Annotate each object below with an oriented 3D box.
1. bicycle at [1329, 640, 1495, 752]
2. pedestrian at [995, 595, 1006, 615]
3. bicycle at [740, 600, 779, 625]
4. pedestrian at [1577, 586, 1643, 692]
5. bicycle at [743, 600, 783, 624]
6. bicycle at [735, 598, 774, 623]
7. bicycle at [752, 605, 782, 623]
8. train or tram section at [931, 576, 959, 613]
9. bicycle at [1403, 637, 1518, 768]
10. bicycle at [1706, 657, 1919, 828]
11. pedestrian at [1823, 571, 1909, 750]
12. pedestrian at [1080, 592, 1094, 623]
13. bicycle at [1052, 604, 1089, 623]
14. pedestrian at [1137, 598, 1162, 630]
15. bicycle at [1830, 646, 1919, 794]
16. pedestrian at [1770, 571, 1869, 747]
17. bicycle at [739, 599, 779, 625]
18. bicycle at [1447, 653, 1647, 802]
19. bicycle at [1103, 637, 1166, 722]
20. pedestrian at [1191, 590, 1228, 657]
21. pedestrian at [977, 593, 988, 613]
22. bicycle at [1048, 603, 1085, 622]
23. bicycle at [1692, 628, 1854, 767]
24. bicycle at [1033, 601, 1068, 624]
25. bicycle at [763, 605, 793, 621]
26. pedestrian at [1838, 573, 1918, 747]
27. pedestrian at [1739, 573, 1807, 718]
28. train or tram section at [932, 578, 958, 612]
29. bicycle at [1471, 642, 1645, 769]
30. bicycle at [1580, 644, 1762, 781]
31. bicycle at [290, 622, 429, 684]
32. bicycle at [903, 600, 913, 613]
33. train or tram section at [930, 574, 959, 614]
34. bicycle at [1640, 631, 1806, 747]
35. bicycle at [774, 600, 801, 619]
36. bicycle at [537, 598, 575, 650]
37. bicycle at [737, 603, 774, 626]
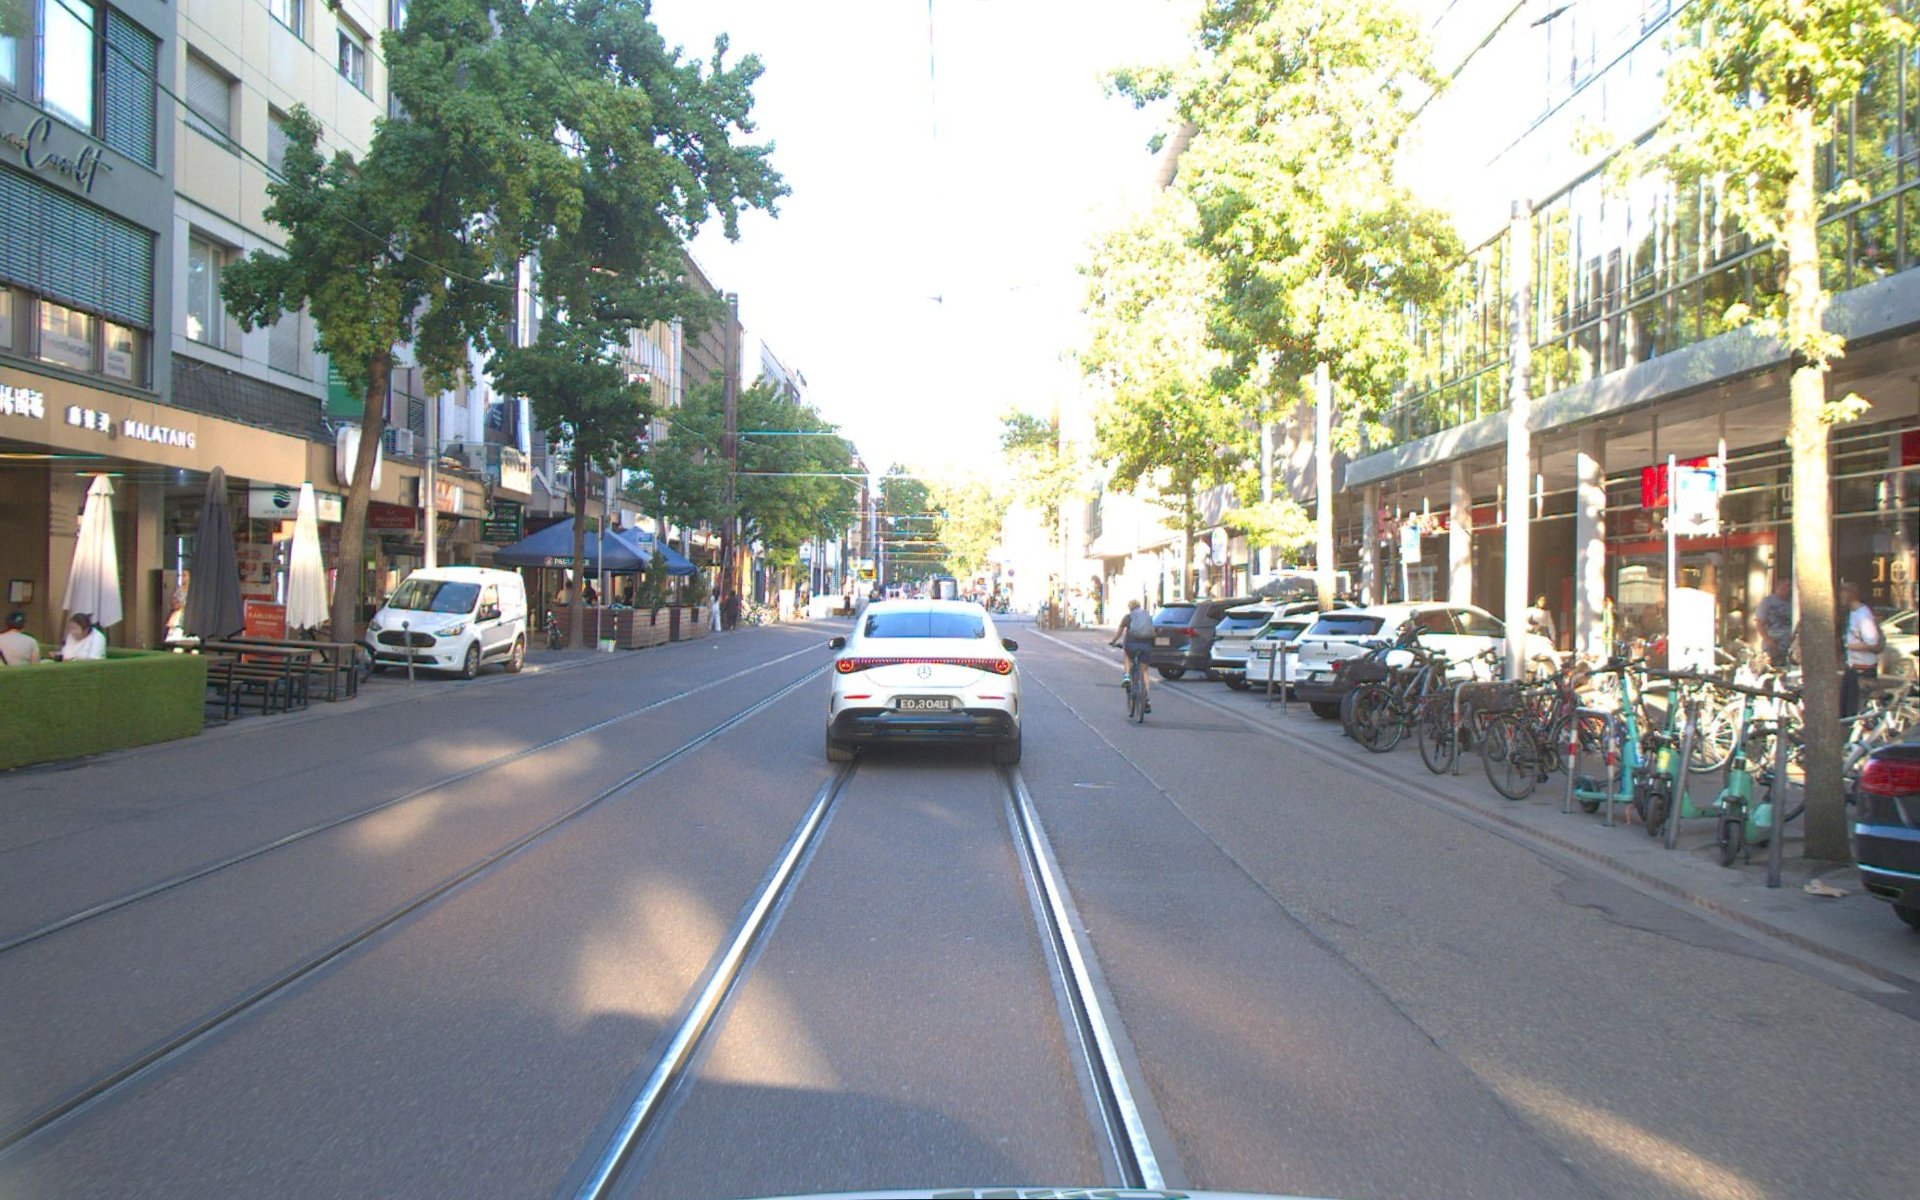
[{"bbox_3d":[5.108,1.054,18.663,1.870,1.139,0.661,-2,-1,-30],"label":"bicycle"},{"bbox_3d":[3.698,0.422,151.247,0.941,1.817,0.803,-1,0,-1],"label":"pedestrian"},{"bbox_3d":[-9.282,0.557,76.480,1.754,1.096,0.377,2,0,-5],"label":"bicycle"},{"bbox_3d":[10.388,0.612,26.449,0.699,1.652,0.882,-1,0,1],"label":"pedestrian"},{"bbox_3d":[-9.248,0.566,77.714,1.810,1.096,0.377,2,0,-5],"label":"bicycle"},{"bbox_3d":[-9.957,0.519,80.187,1.808,1.160,0.377,2,0,1],"label":"bicycle"},{"bbox_3d":[-9.779,0.703,83.949,1.462,0.855,0.344,2,0,1],"label":"bicycle"},{"bbox_3d":[-1.509,-0.535,166.830,2.639,3.578,12.543,0,0,0],"label":"train or tram section"},{"bbox_3d":[5.077,1.011,16.717,0.472,1.183,1.687,-3,0,39],"label":"bicycle"},{"bbox_3d":[6.452,1.006,12.020,0.546,1.127,1.826,-2,0,-36],"label":"bicycle"},{"bbox_3d":[9.191,0.604,16.793,0.512,1.781,0.559,-2,0,1],"label":"pedestrian"},{"bbox_3d":[7.807,0.462,101.851,0.687,1.844,1.033,-3,0,-1],"label":"pedestrian"},{"bbox_3d":[6.417,0.780,96.126,2.077,1.115,0.608,0,0,-14],"label":"bicycle"},{"bbox_3d":[8.495,0.634,74.203,0.822,1.401,0.772,1,0,-23],"label":"pedestrian"},{"bbox_3d":[8.071,0.966,13.225,0.620,1.150,1.864,-2,0,-36],"label":"bicycle"},{"bbox_3d":[8.595,0.581,16.548,0.667,1.726,0.548,1,0,-13],"label":"pedestrian"},{"bbox_3d":[-9.242,0.555,76.008,1.754,1.096,0.377,2,0,-5],"label":"bicycle"},{"bbox_3d":[5.140,1.084,14.470,1.543,1.107,0.860,-3,2,-31],"label":"bicycle"},{"bbox_3d":[2.359,1.036,22.182,0.703,1.012,2.060,3,0,8],"label":"bicycle"},{"bbox_3d":[6.461,0.601,42.799,0.667,1.715,0.694,-2,0,33],"label":"pedestrian"},{"bbox_3d":[2.039,0.244,150.172,0.941,1.817,0.803,-1,0,-1],"label":"pedestrian"},{"bbox_3d":[6.333,0.753,98.324,2.076,1.115,0.608,0,0,-12],"label":"bicycle"},{"bbox_3d":[7.814,0.909,15.896,1.253,1.193,0.859,-3,2,-31],"label":"bicycle"},{"bbox_3d":[5.108,0.708,93.795,1.874,1.303,0.608,-1,0,-12],"label":"bicycle"},{"bbox_3d":[-9.369,0.673,85.256,1.462,0.797,0.344,2,0,1],"label":"bicycle"},{"bbox_3d":[9.324,0.595,16.804,0.506,1.726,0.550,1,0,4],"label":"pedestrian"},{"bbox_3d":[10.191,0.567,20.749,0.545,1.781,0.525,-2,0,0],"label":"pedestrian"},{"bbox_3d":[-1.585,-0.551,178.670,2.639,3.578,11.141,0,0,0],"label":"train or tram section"},{"bbox_3d":[5.948,1.026,16.443,1.669,1.125,0.626,-2,0,-27],"label":"bicycle"},{"bbox_3d":[6.610,1.012,15.355,1.652,1.093,0.725,-3,2,-31],"label":"bicycle"},{"bbox_3d":[-9.300,0.818,25.665,0.821,0.880,1.852,3,0,38],"label":"bicycle"},{"bbox_3d":[-4.482,0.556,142.994,0.784,1.162,2.256,2,0,-2],"label":"bicycle"},{"bbox_3d":[-1.435,-0.513,154.279,2.639,3.578,12.543,0,0,0],"label":"train or tram section"},{"bbox_3d":[8.229,0.938,17.828,1.751,1.125,0.627,-2,0,-26],"label":"bicycle"},{"bbox_3d":[-9.936,0.531,95.316,1.466,1.047,0.344,2,0,-11],"label":"bicycle"},{"bbox_3d":[-9.861,0.572,40.320,0.687,1.140,2.076,3,0,-18],"label":"bicycle"},{"bbox_3d":[-9.051,0.630,73.156,1.562,0.947,0.377,2,0,6],"label":"bicycle"}]
